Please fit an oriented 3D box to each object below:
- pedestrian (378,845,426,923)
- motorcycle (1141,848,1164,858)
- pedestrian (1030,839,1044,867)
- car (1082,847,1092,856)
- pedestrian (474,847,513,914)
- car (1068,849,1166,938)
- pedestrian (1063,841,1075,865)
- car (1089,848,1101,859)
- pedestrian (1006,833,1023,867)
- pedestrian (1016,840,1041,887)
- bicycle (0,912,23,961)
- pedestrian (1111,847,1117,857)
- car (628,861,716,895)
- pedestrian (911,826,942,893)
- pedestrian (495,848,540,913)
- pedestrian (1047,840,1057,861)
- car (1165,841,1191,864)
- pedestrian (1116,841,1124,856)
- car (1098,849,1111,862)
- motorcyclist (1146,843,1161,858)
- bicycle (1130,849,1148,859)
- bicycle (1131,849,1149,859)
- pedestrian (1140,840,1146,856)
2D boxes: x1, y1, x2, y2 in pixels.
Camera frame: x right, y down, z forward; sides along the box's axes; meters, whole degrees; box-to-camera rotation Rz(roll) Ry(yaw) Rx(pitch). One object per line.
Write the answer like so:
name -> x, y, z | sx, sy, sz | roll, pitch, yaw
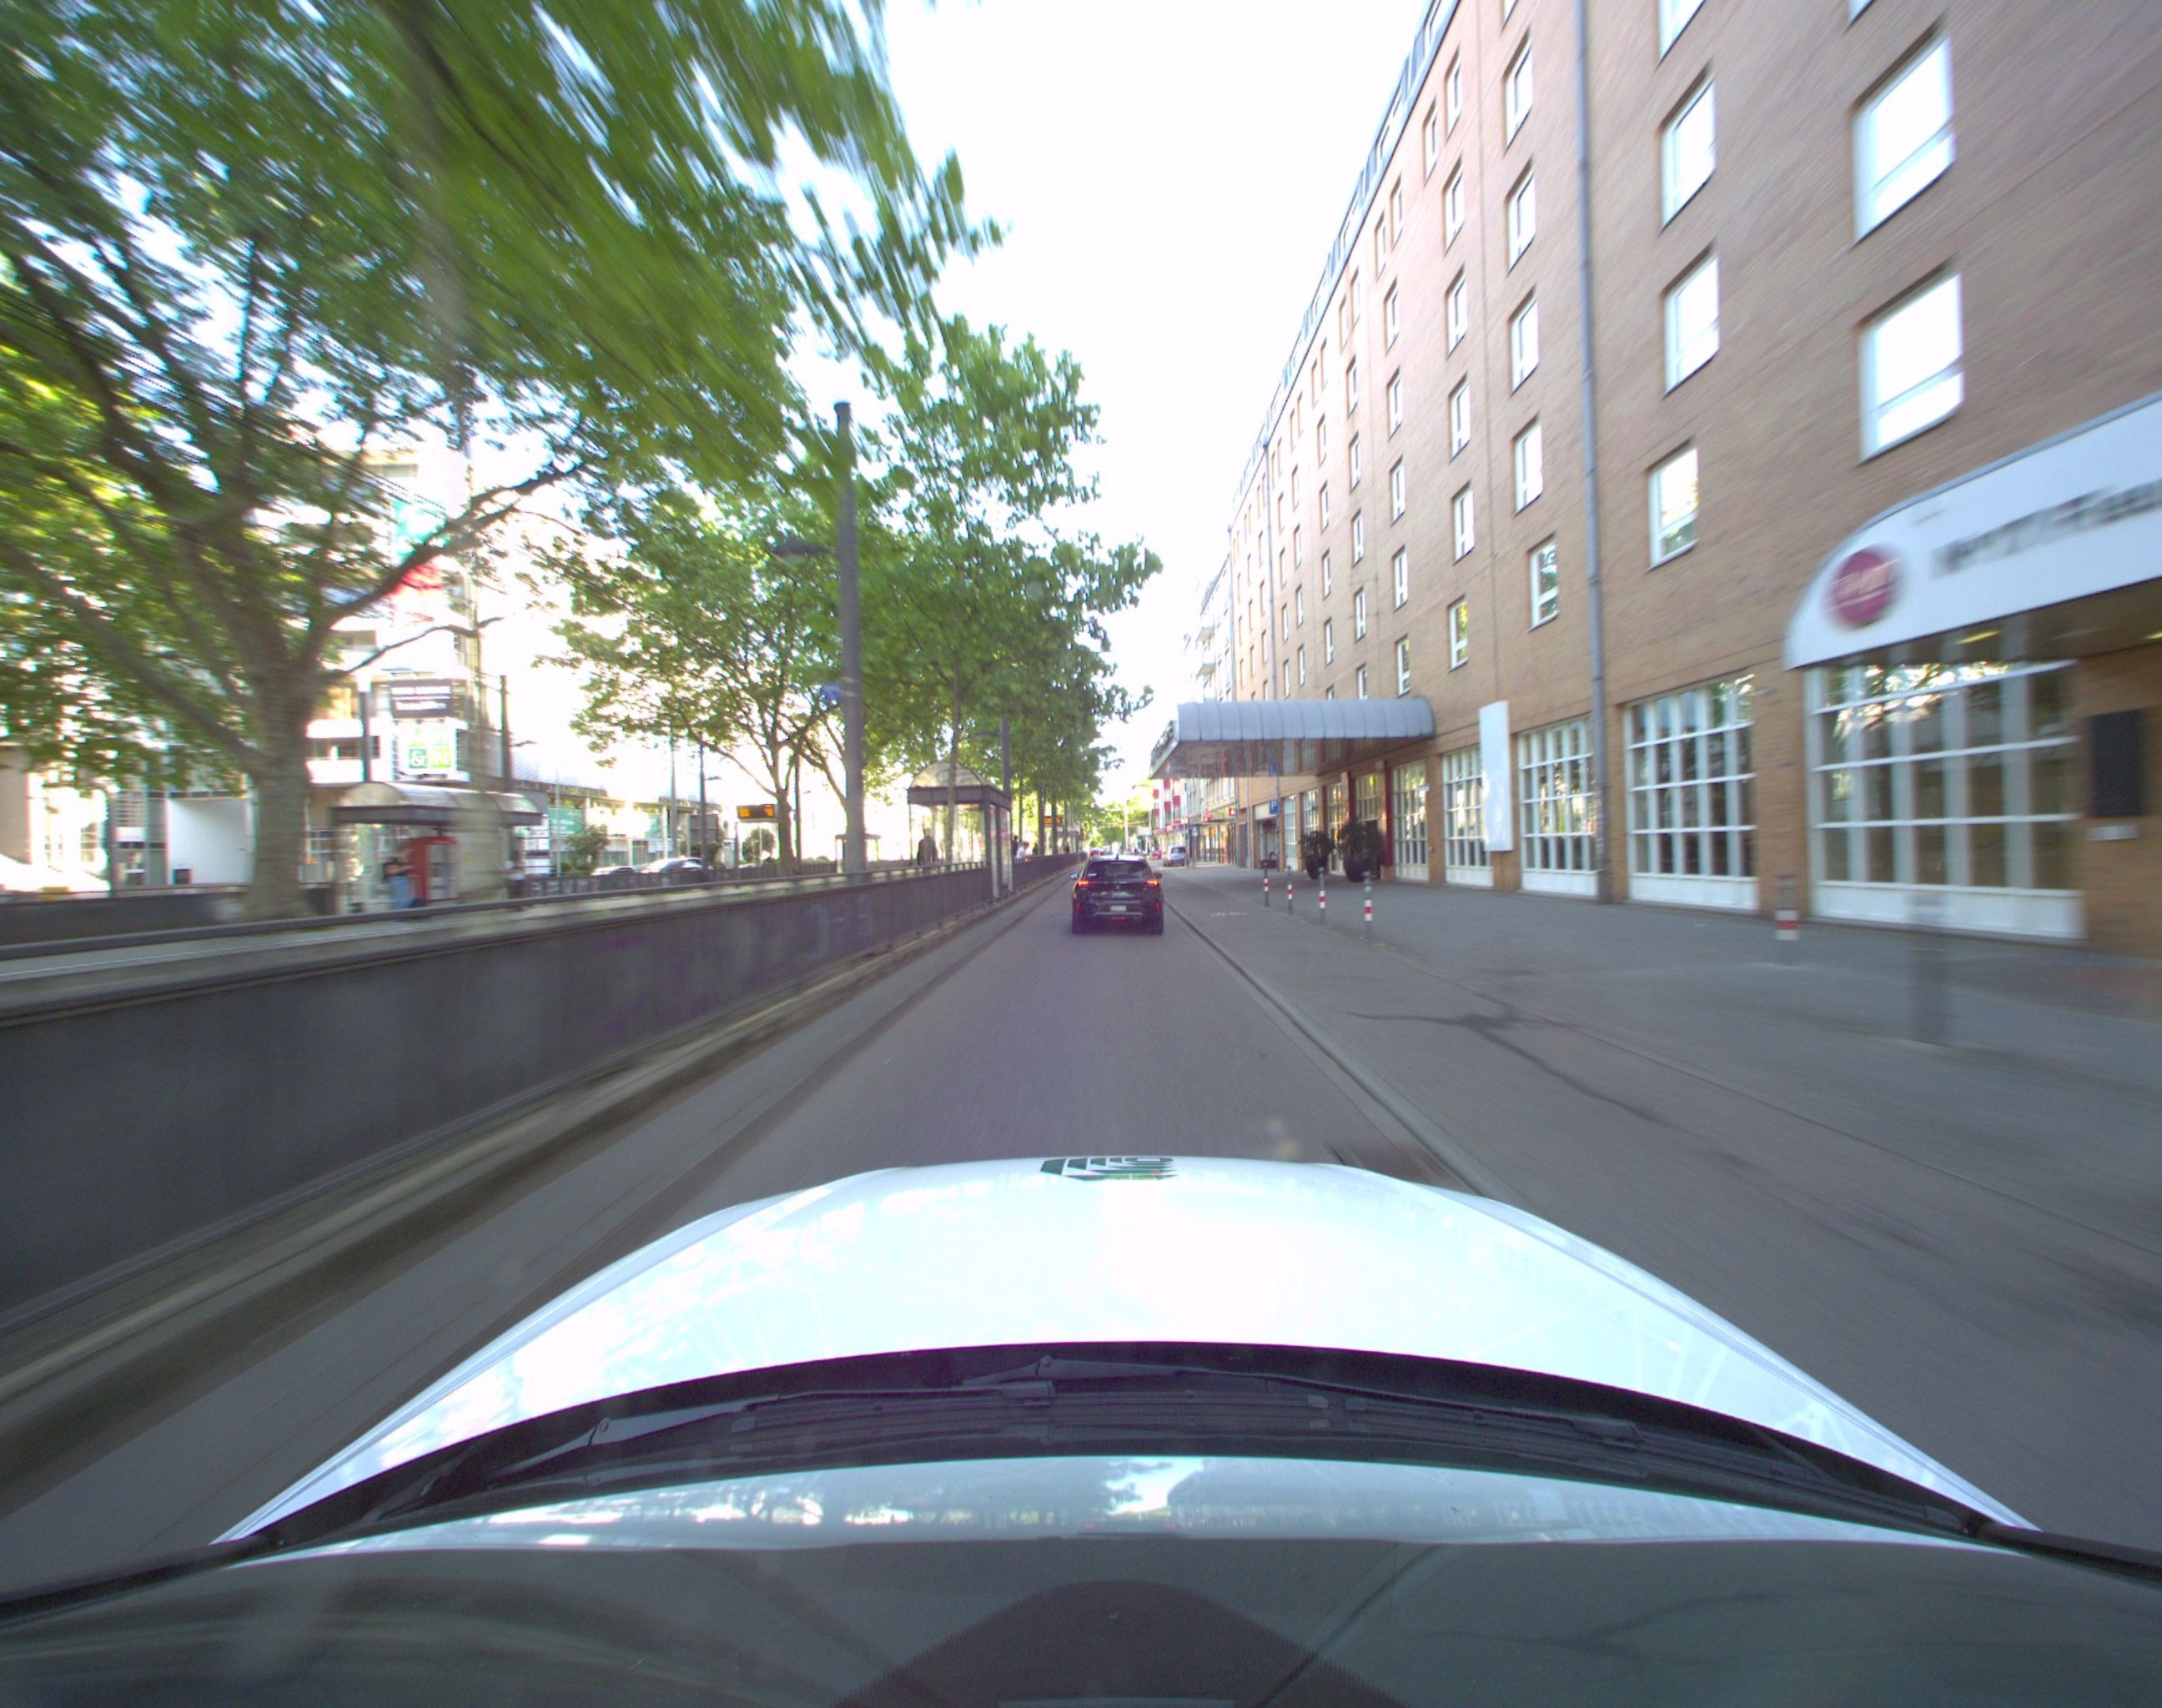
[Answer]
pedestrian -> -14.319, 0.617, 17.178 | 0.480, 1.573, 0.676 | 0, 2, 44
motorcycle -> 8.462, -0.114, 96.333 | 1.312, 1.058, 3.069 | -2, 0, -28
pedestrian -> -2.231, -0.052, 41.715 | 0.602, 1.365, 0.486 | -3, 0, 1
car -> 1.136, -0.490, 152.875 | 1.608, 1.501, 3.691 | -1, 0, 1
pedestrian -> -14.143, 0.625, 19.610 | 0.498, 1.573, 0.495 | -1, 2, 5
car -> 0.782, 0.674, 15.994 | 1.664, 1.501, 3.695 | -2, 0, 5
pedestrian -> -0.748, -0.070, 50.867 | 0.720, 1.444, 0.626 | -1, 0, -2
car -> 2.060, -0.051, 118.711 | 1.608, 1.501, 3.691 | -1, 0, 1
pedestrian -> -2.752, -0.177, 33.760 | 0.602, 1.365, 0.486 | -3, 0, 1
pedestrian -> -1.662, 0.292, 25.714 | 0.720, 1.444, 0.626 | -1, 0, -2
bicycle -> -15.736, 1.199, 11.086 | 0.391, 0.689, 1.696 | -2, 0, 2
pedestrian -> 5.644, -0.326, 137.757 | 0.914, 1.775, 1.150 | -1, 0, -1
car -> -18.137, 1.021, 36.306 | 1.659, 1.407, 4.004 | -1, 0, 4
pedestrian -> -3.942, 0.141, 20.808 | 0.602, 1.680, 0.486 | -3, 0, 1
pedestrian -> -13.994, 0.650, 20.245 | 0.559, 1.573, 0.642 | -1, 2, 14
pedestrian -> -1.982, -0.237, 55.868 | 0.602, 1.365, 0.486 | -3, 0, 1
car -> 7.402, -0.106, 62.340 | 1.665, 1.652, 3.693 | -1, 0, 3
pedestrian -> 7.672, -1.084, 161.790 | 1.154, 2.871, 0.910 | -2, 0, -32
car -> 2.886, 0.173, 100.559 | 1.608, 1.501, 3.691 | -1, 0, 1
motorcyclist -> 8.533, -0.423, 96.202 | 1.312, 1.698, 1.226 | -1, 0, -28
bicycle -> 7.827, -0.007, 109.492 | 2.345, 1.233, 0.684 | -1, 0, 3
bicycle -> 7.766, -0.049, 107.785 | 2.345, 1.233, 0.684 | -1, 0, 3
pedestrian -> 11.685, -1.161, 154.135 | 0.914, 2.871, 1.150 | -1, 0, 1
